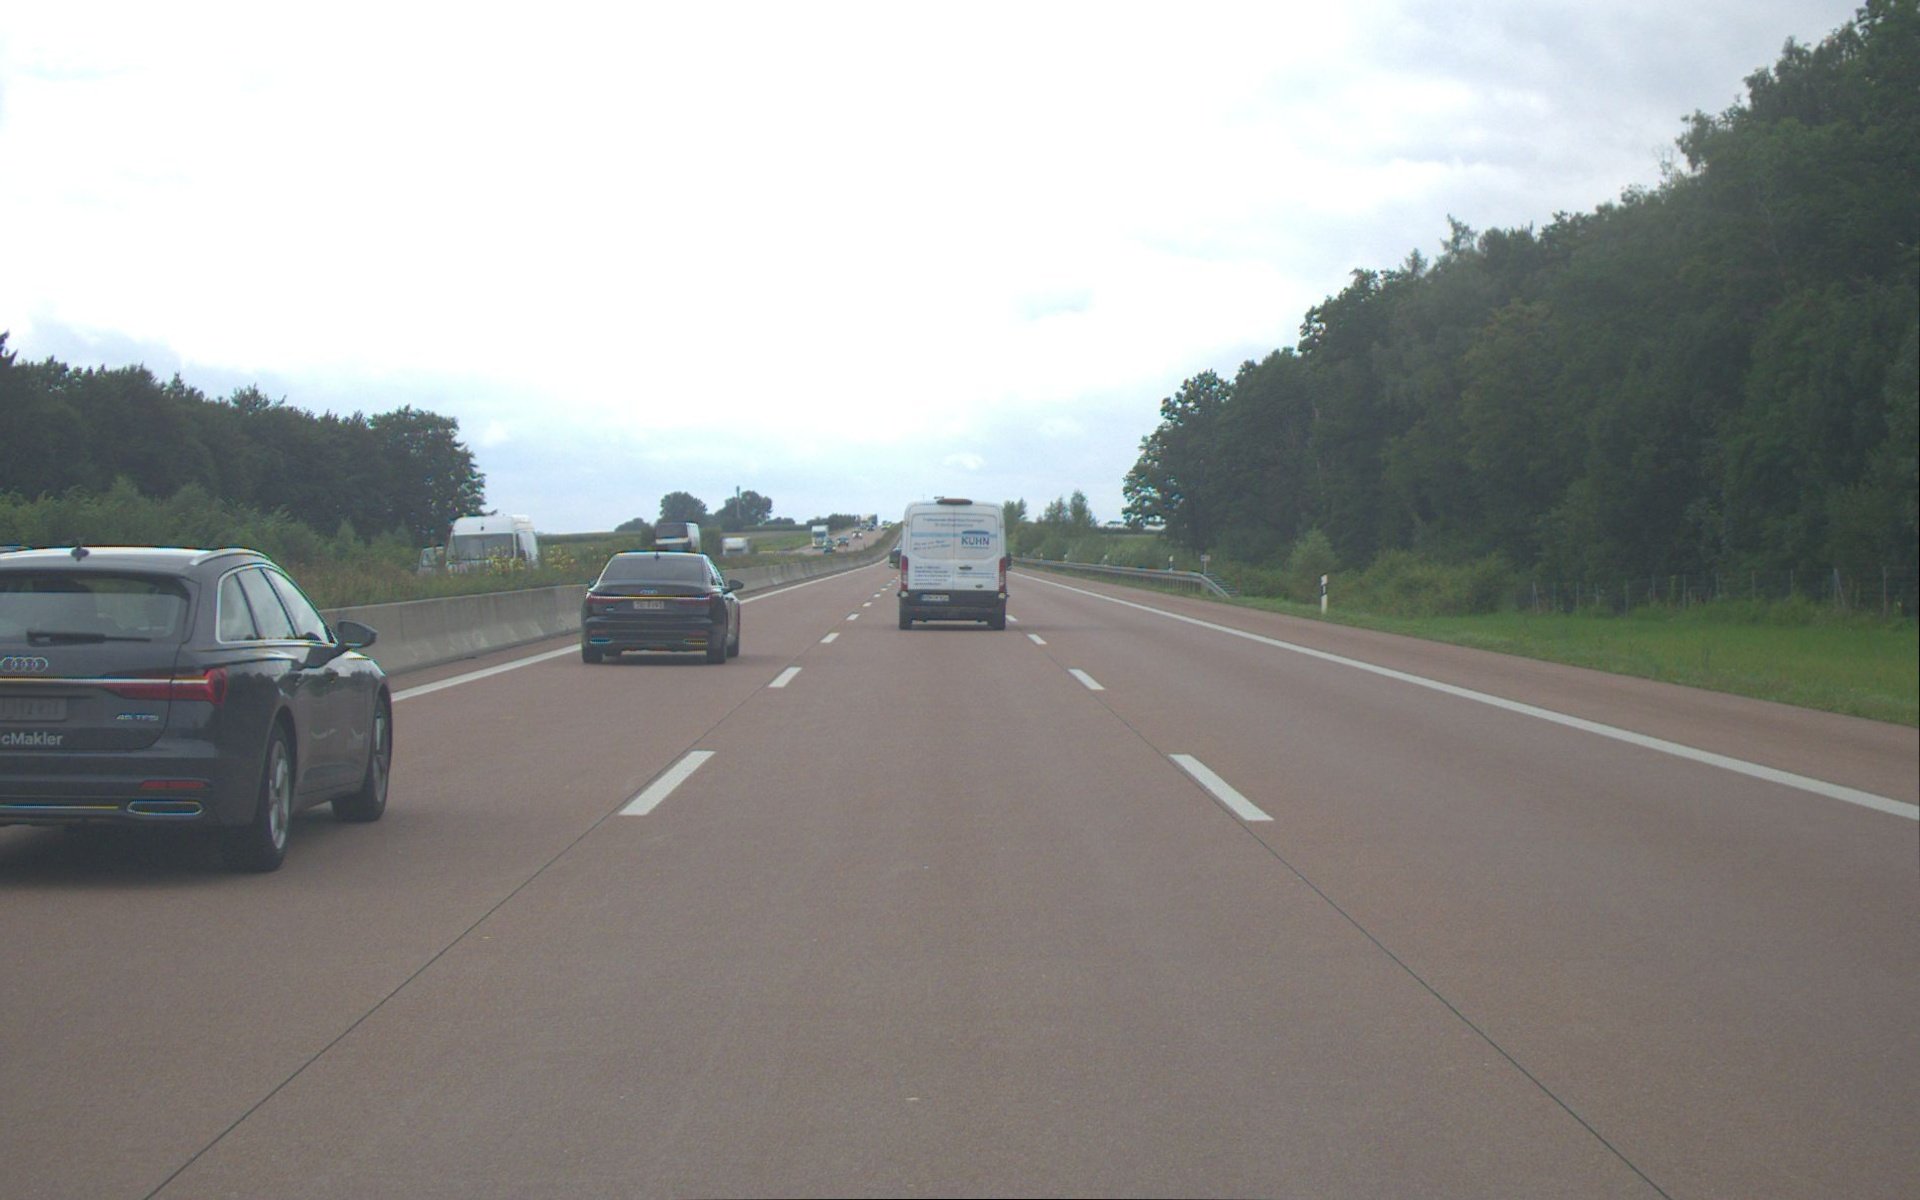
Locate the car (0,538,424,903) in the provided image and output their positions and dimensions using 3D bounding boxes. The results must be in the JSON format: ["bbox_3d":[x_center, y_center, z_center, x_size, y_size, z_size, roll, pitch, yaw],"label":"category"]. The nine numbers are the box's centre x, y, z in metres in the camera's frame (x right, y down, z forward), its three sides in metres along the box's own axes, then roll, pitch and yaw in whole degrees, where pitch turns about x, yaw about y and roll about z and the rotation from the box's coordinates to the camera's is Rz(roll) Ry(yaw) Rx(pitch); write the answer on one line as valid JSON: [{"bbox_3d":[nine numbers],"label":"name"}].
[{"bbox_3d":[-4.082,0.454,17.063,2.059,1.486,5.453,1,1,-1],"label":"car"}]

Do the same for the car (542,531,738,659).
[{"bbox_3d":[-4.194,-0.120,45.985,2.085,1.545,5.674,1,1,0],"label":"car"}]

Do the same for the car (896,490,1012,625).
[{"bbox_3d":[-0.116,-0.876,66.971,2.137,2.498,7.132,0,1,0],"label":"car"}]

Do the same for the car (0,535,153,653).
[{"bbox_3d":[-15.625,-0.137,60.942,1.672,1.974,4.000,2,1,0],"label":"car"}]

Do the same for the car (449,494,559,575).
[{"bbox_3d":[-12.652,-1.821,95.837,2.072,2.134,7.488,1,1,0],"label":"car"}]
